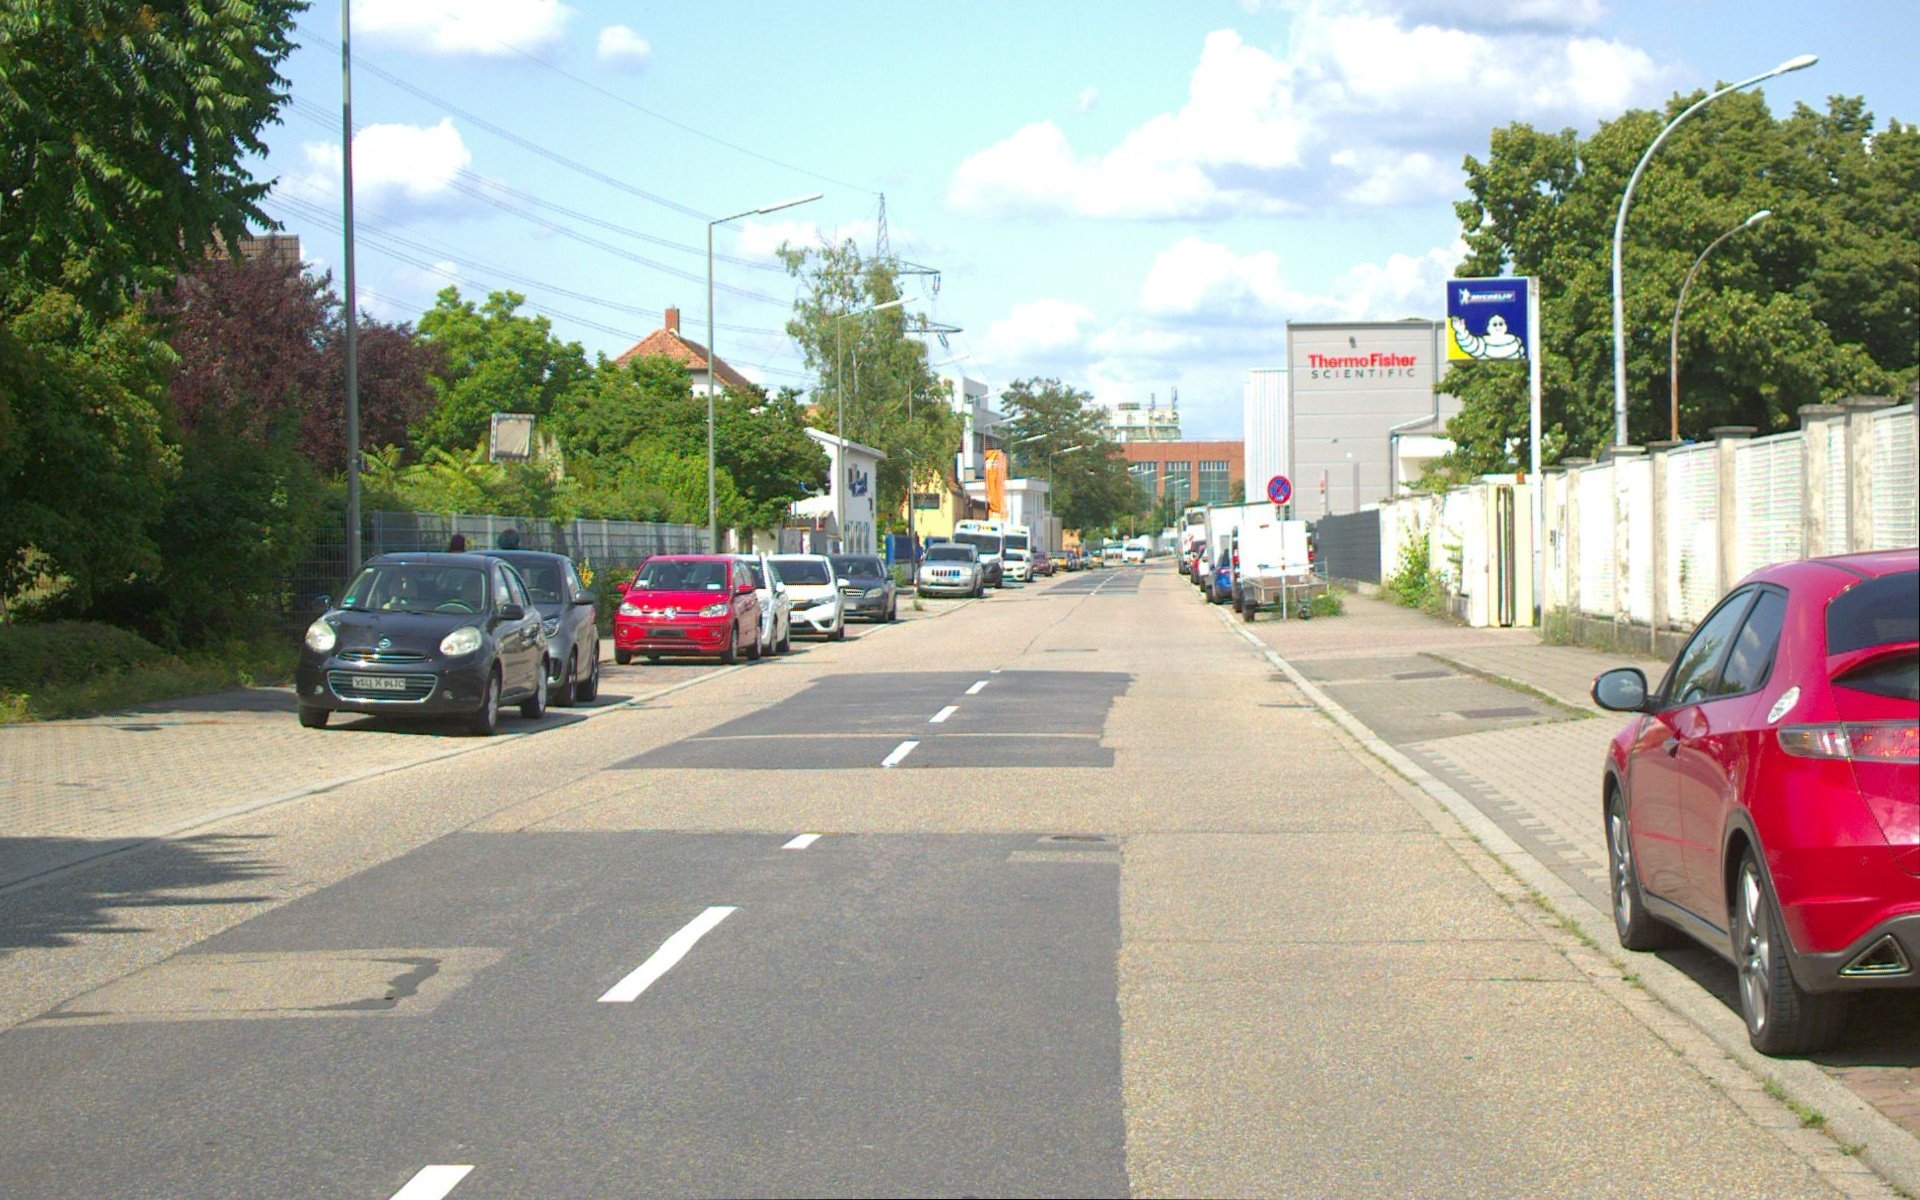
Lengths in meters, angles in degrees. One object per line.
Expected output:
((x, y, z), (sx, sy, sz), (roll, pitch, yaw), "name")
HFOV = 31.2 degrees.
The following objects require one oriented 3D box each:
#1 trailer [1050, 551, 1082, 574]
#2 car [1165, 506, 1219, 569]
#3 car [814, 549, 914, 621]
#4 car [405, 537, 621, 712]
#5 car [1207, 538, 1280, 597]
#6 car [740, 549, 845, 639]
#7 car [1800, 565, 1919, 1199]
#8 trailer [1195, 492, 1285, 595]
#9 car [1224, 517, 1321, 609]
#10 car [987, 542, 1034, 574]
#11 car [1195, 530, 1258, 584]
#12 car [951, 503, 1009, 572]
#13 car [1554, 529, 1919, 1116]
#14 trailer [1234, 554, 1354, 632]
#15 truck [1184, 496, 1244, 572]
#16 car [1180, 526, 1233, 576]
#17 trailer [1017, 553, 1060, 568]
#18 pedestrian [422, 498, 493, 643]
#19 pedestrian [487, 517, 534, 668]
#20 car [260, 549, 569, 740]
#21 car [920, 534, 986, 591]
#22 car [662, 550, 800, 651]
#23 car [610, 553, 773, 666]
((7.122, -2.525, 230.900), (1.994, 1.551, 4.253), (0, 1, 3), "trailer")
((12.923, -3.456, 191.721), (2.388, 3.351, 6.645), (-4, 0, 1), "car")
((-1.997, -0.344, 72.889), (1.805, 1.414, 4.496), (2, 1, 2), "car")
((-4.524, 0.209, 35.181), (1.650, 1.640, 3.273), (2, 1, 1), "car")
((7.523, -0.859, 91.515), (1.690, 1.456, 4.070), (-3, 0, 2), "car")
((-2.944, -0.139, 61.022), (1.620, 1.517, 4.176), (0, 1, 0), "car")
((2.935, 0.633, 6.094), (1.699, 1.481, 3.808), (-4, 1, -3), "car")
((7.976, -1.583, 98.332), (2.204, 2.727, 6.221), (-3, 0, 3), "trailer")
((7.178, -0.867, 79.400), (1.994, 2.007, 5.649), (-1, 1, 3), "car")
((2.257, -1.844, 152.404), (1.796, 1.392, 4.501), (1, 0, 5), "car")
((9.021, -1.490, 116.767), (1.935, 1.688, 4.679), (-3, 1, 3), "car")
((0.814, -2.382, 132.704), (2.030, 2.549, 6.657), (2, 1, 2), "car")
((3.114, 0.537, 11.191), (1.754, 1.481, 4.224), (-4, 1, 3), "car")
((6.658, -0.144, 68.967), (1.749, 1.412, 4.550), (-4, 0, -2), "trailer")
((11.848, -3.064, 160.738), (2.459, 3.282, 6.817), (-5, 0, 4), "truck")
((10.293, -2.058, 143.305), (2.054, 1.897, 5.146), (-4, 1, 5), "car")
((4.809, -2.400, 209.982), (2.363, 0.890, 5.568), (1, 1, 3), "trailer")
((-6.285, -0.366, 43.026), (0.708, 1.795, 0.916), (0, 0, 3), "pedestrian")
((-5.677, -0.099, 43.438), (0.451, 1.887, 0.677), (0, 0, 3), "pedestrian")
((-4.741, 0.337, 30.416), (1.845, 1.503, 4.000), (2, 1, 3), "car")
((-0.194, -1.203, 110.043), (1.791, 1.713, 4.751), (2, 1, 3), "car")
((-3.419, -0.008, 51.986), (1.645, 1.472, 4.029), (0, 0, 3), "car")
((-3.643, 0.108, 47.218), (1.666, 1.462, 3.743), (1, 0, 4), "car")
